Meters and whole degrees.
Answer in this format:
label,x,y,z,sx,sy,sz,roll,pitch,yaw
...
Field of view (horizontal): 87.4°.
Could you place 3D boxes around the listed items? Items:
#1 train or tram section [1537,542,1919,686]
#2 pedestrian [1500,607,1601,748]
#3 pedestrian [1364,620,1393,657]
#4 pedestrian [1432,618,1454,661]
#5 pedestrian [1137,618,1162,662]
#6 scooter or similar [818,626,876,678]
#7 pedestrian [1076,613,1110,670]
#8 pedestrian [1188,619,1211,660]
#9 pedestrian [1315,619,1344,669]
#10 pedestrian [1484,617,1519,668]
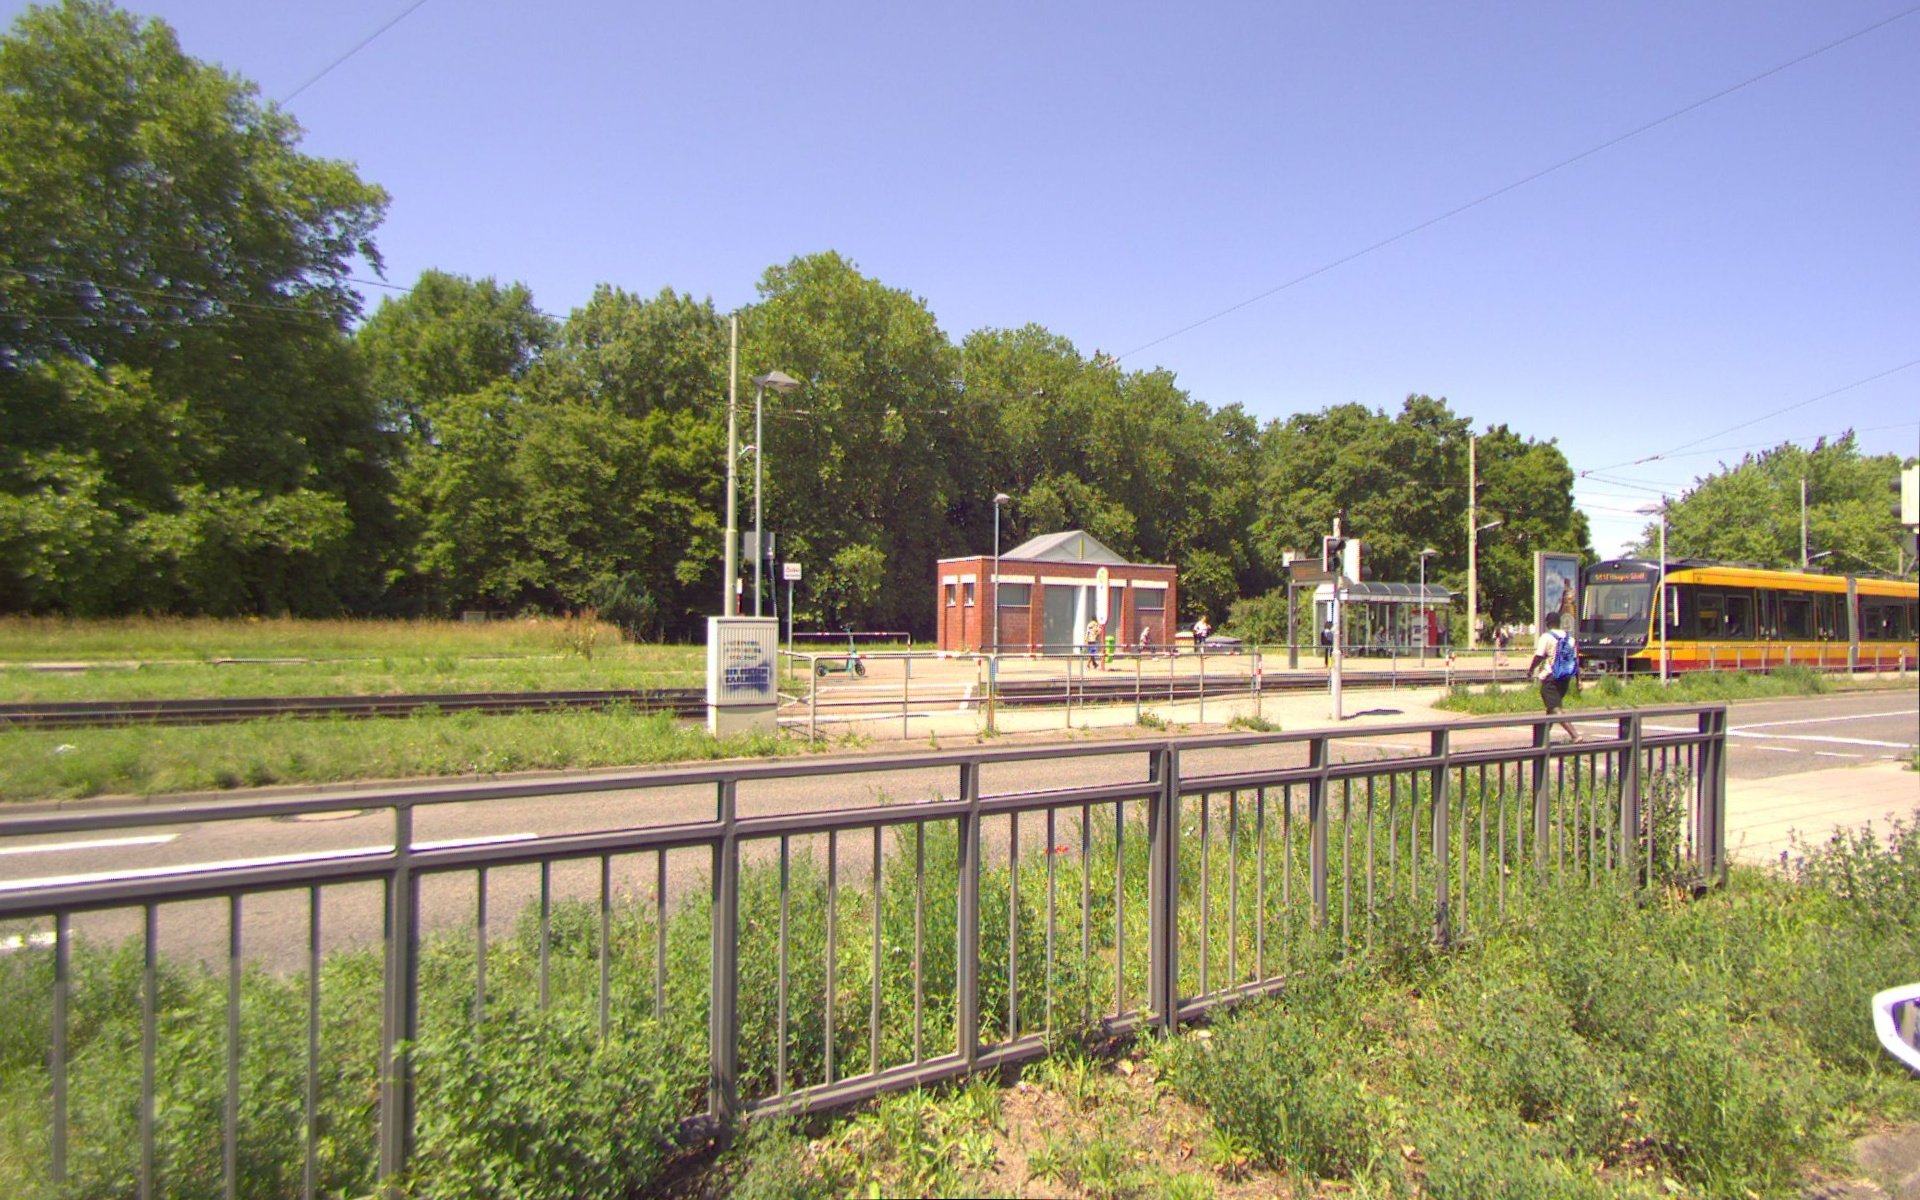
label,x,y,z,sx,sy,sz,roll,pitch,yaw
train or tram section,30.249,0.690,35.416,29.680,3.799,2.944,1,-1,-31
pedestrian,7.964,1.035,13.569,0.711,1.801,0.836,-1,-3,-30
pedestrian,17.248,1.577,41.376,0.710,1.531,0.841,1,-1,-19
pedestrian,20.721,1.675,43.122,0.707,1.824,0.845,0,-1,17
pedestrian,6.608,1.392,35.074,0.563,1.499,0.636,1,-1,-30
scooter or similar,-2.635,1.210,23.454,1.217,1.183,0.508,1,-1,-30
pedestrian,3.861,1.181,29.085,0.663,1.611,0.805,0,-1,37
pedestrian,8.724,1.430,36.635,0.573,1.476,0.639,1,-1,-15
pedestrian,11.928,1.401,32.382,0.688,1.575,0.629,1,-1,-42
pedestrian,20.036,1.552,37.156,0.832,1.802,0.714,-1,5,-30
